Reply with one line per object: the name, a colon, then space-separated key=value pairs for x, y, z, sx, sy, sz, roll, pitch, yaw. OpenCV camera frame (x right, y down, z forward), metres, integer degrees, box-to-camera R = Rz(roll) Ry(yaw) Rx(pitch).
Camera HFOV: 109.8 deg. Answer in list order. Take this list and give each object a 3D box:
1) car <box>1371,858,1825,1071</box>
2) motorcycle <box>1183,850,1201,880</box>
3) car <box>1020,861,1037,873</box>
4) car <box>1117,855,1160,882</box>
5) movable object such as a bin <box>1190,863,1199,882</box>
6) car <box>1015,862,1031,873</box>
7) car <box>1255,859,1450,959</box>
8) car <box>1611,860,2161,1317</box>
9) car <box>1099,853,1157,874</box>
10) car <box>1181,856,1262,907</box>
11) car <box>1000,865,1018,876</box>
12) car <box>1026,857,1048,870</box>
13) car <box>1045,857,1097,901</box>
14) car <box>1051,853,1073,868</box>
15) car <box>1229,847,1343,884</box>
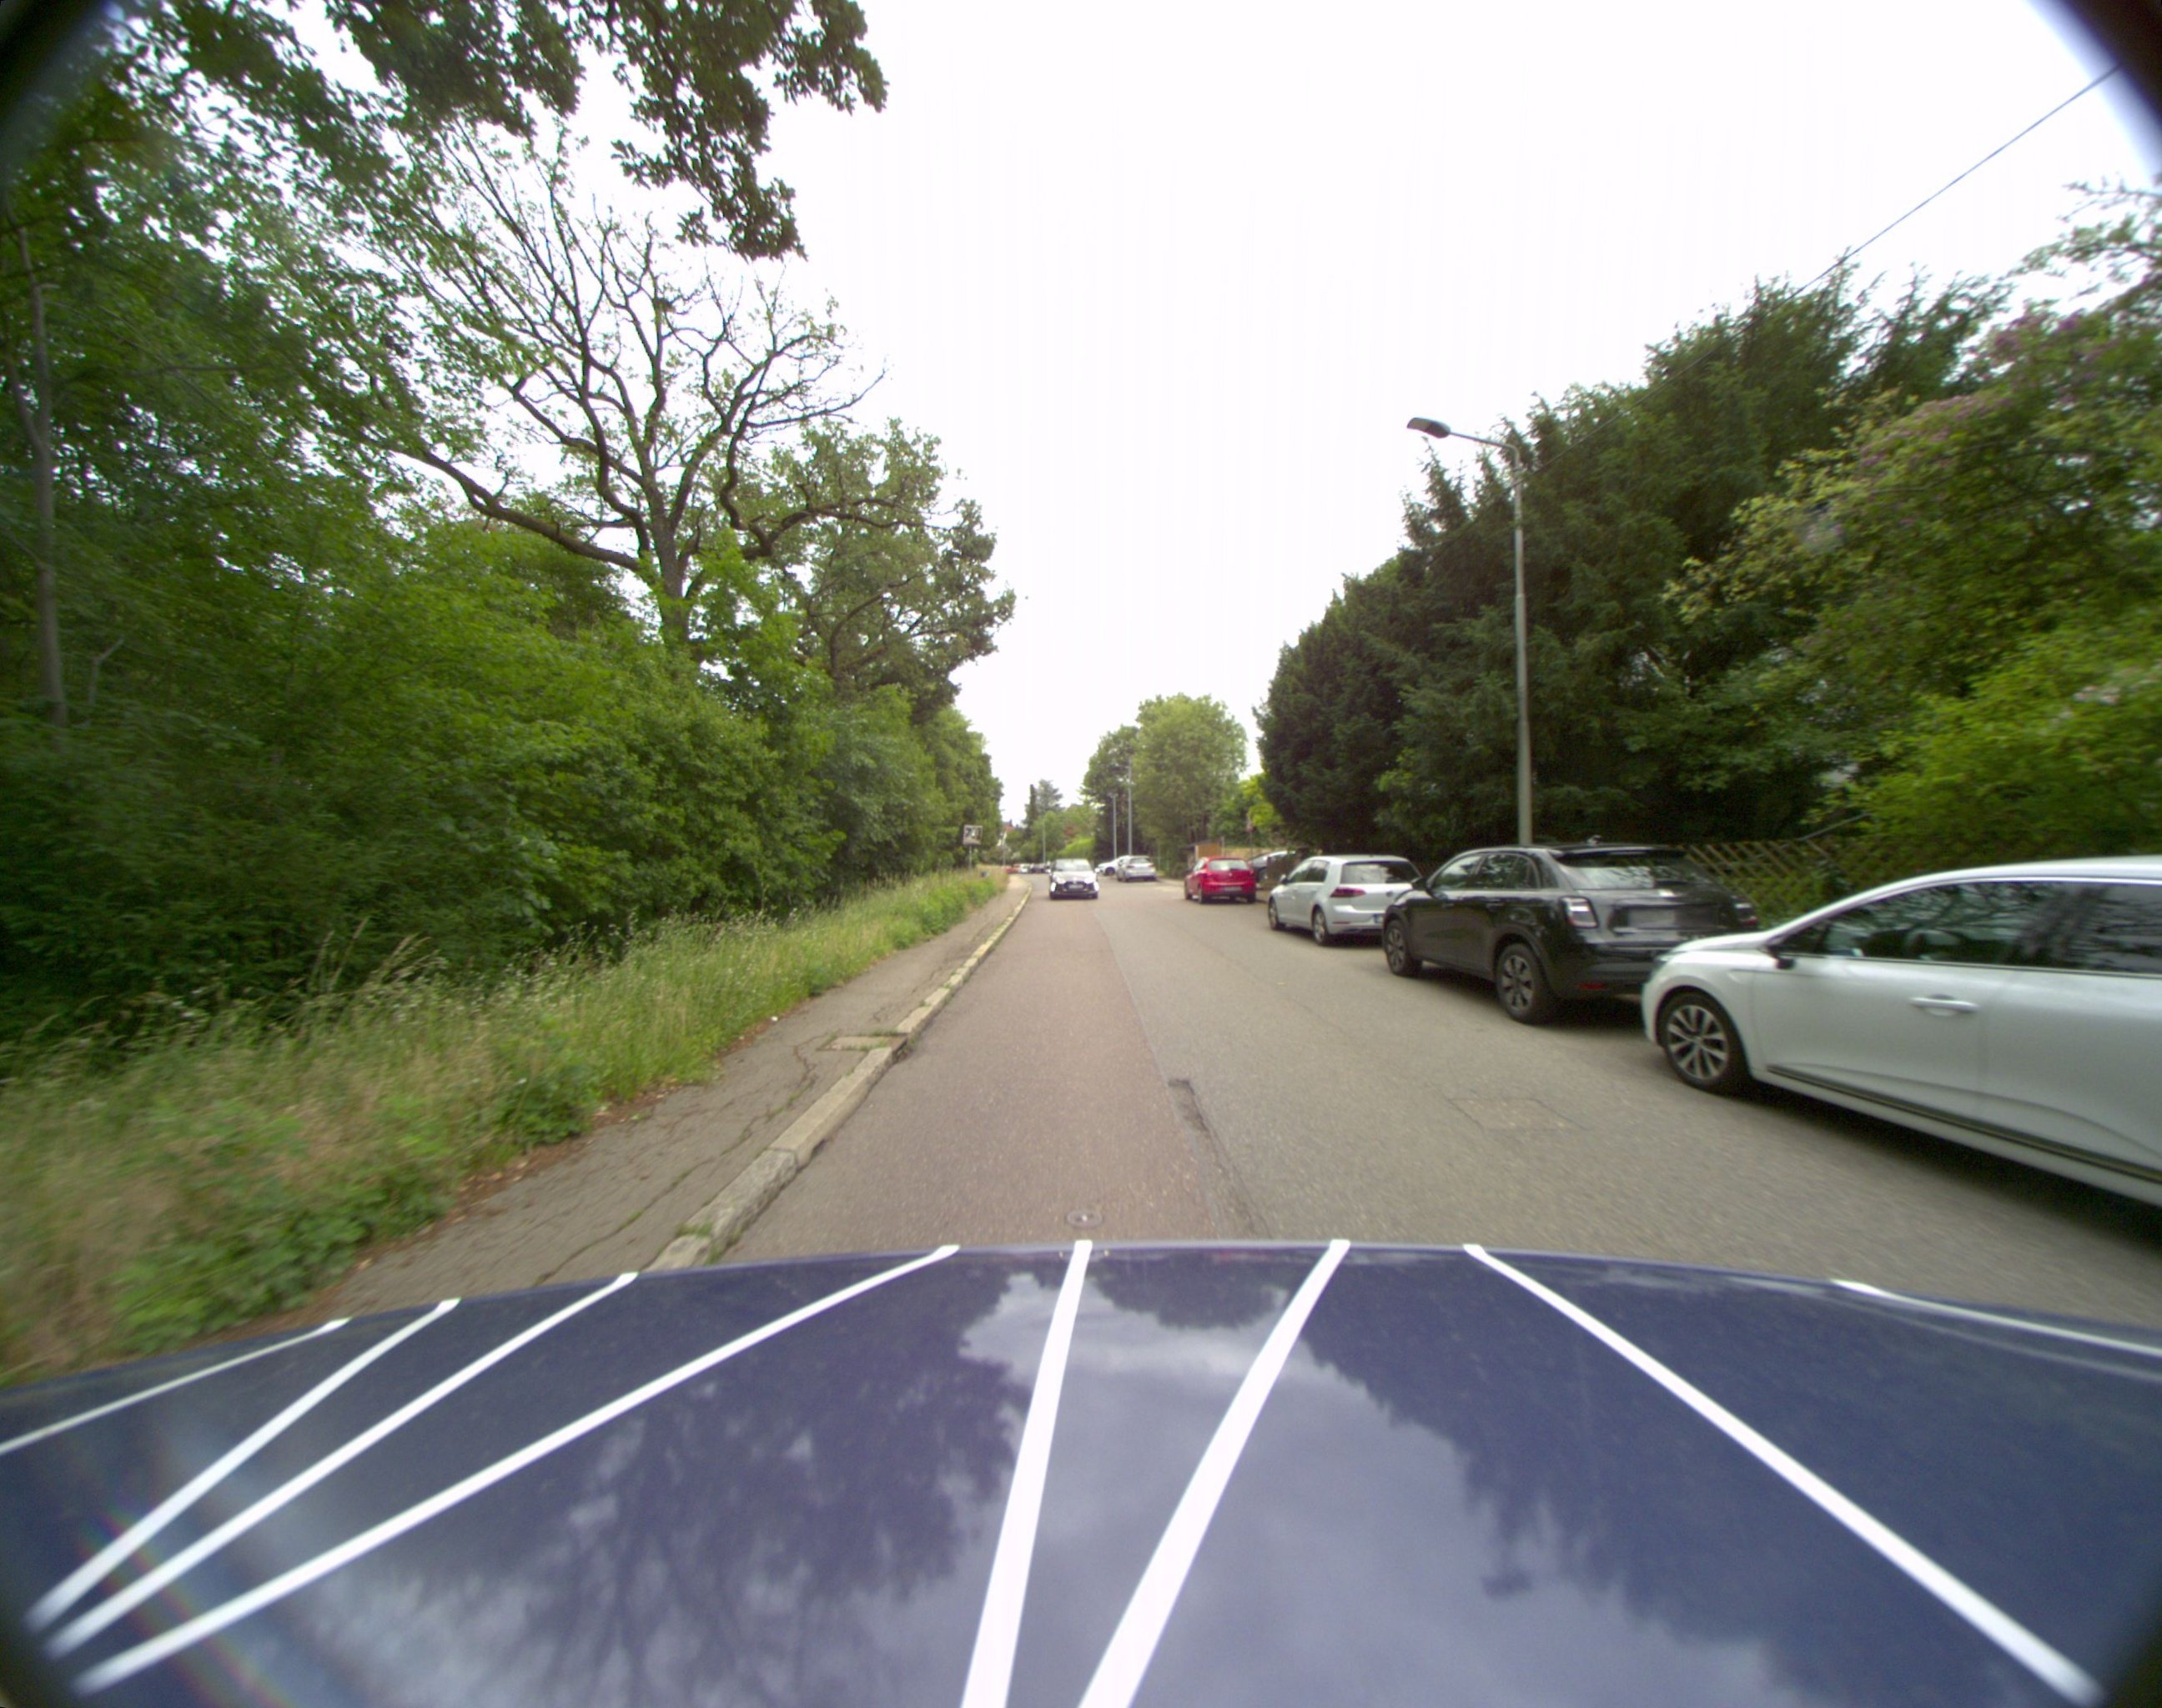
car: x=4.555 y=0.822 z=7.571 sx=1.788 sy=1.491 sz=4.014 roll=-1 pitch=0 yaw=0
motorcycle: x=5.988 y=0.560 z=41.136 sx=0.484 sy=1.573 sz=1.912 roll=-1 pitch=0 yaw=-6
car: x=-7.954 y=1.915 z=114.954 sx=1.801 sy=1.678 sz=3.495 roll=-2 pitch=0 yaw=-17
car: x=3.220 y=0.779 z=43.280 sx=1.765 sy=1.441 sz=4.042 roll=-1 pitch=0 yaw=-5
movable object such as a bin: x=5.913 y=0.959 z=39.643 sx=0.367 sy=0.919 sz=0.556 roll=2 pitch=1 yaw=2
car: x=-9.093 y=2.147 z=118.879 sx=1.801 sy=1.678 sz=3.495 roll=-2 pitch=0 yaw=-17
car: x=4.537 y=0.830 z=13.451 sx=1.788 sy=1.431 sz=4.323 roll=-1 pitch=0 yaw=-1
car: x=4.566 y=0.810 z=3.249 sx=1.788 sy=1.491 sz=4.014 roll=-1 pitch=0 yaw=0
car: x=3.945 y=0.777 z=64.819 sx=4.708 sy=1.678 sz=1.999 roll=-1 pitch=0 yaw=-3
car: x=4.314 y=0.802 z=23.867 sx=1.741 sy=1.431 sz=3.787 roll=-1 pitch=0 yaw=-1
car: x=-12.024 y=2.770 z=126.976 sx=2.001 sy=1.678 sz=4.703 roll=-2 pitch=0 yaw=-18
car: x=-6.220 y=1.322 z=107.179 sx=2.001 sy=1.678 sz=4.704 roll=-2 pitch=0 yaw=-17
car: x=-0.336 y=0.879 z=28.663 sx=1.788 sy=1.491 sz=4.014 roll=-2 pitch=0 yaw=0
car: x=-2.359 y=0.794 z=92.576 sx=2.000 sy=1.678 sz=4.706 roll=-1 pitch=0 yaw=-9
car: x=9.248 y=0.527 z=34.544 sx=4.617 sy=1.378 sz=1.890 roll=-4 pitch=-1 yaw=0
